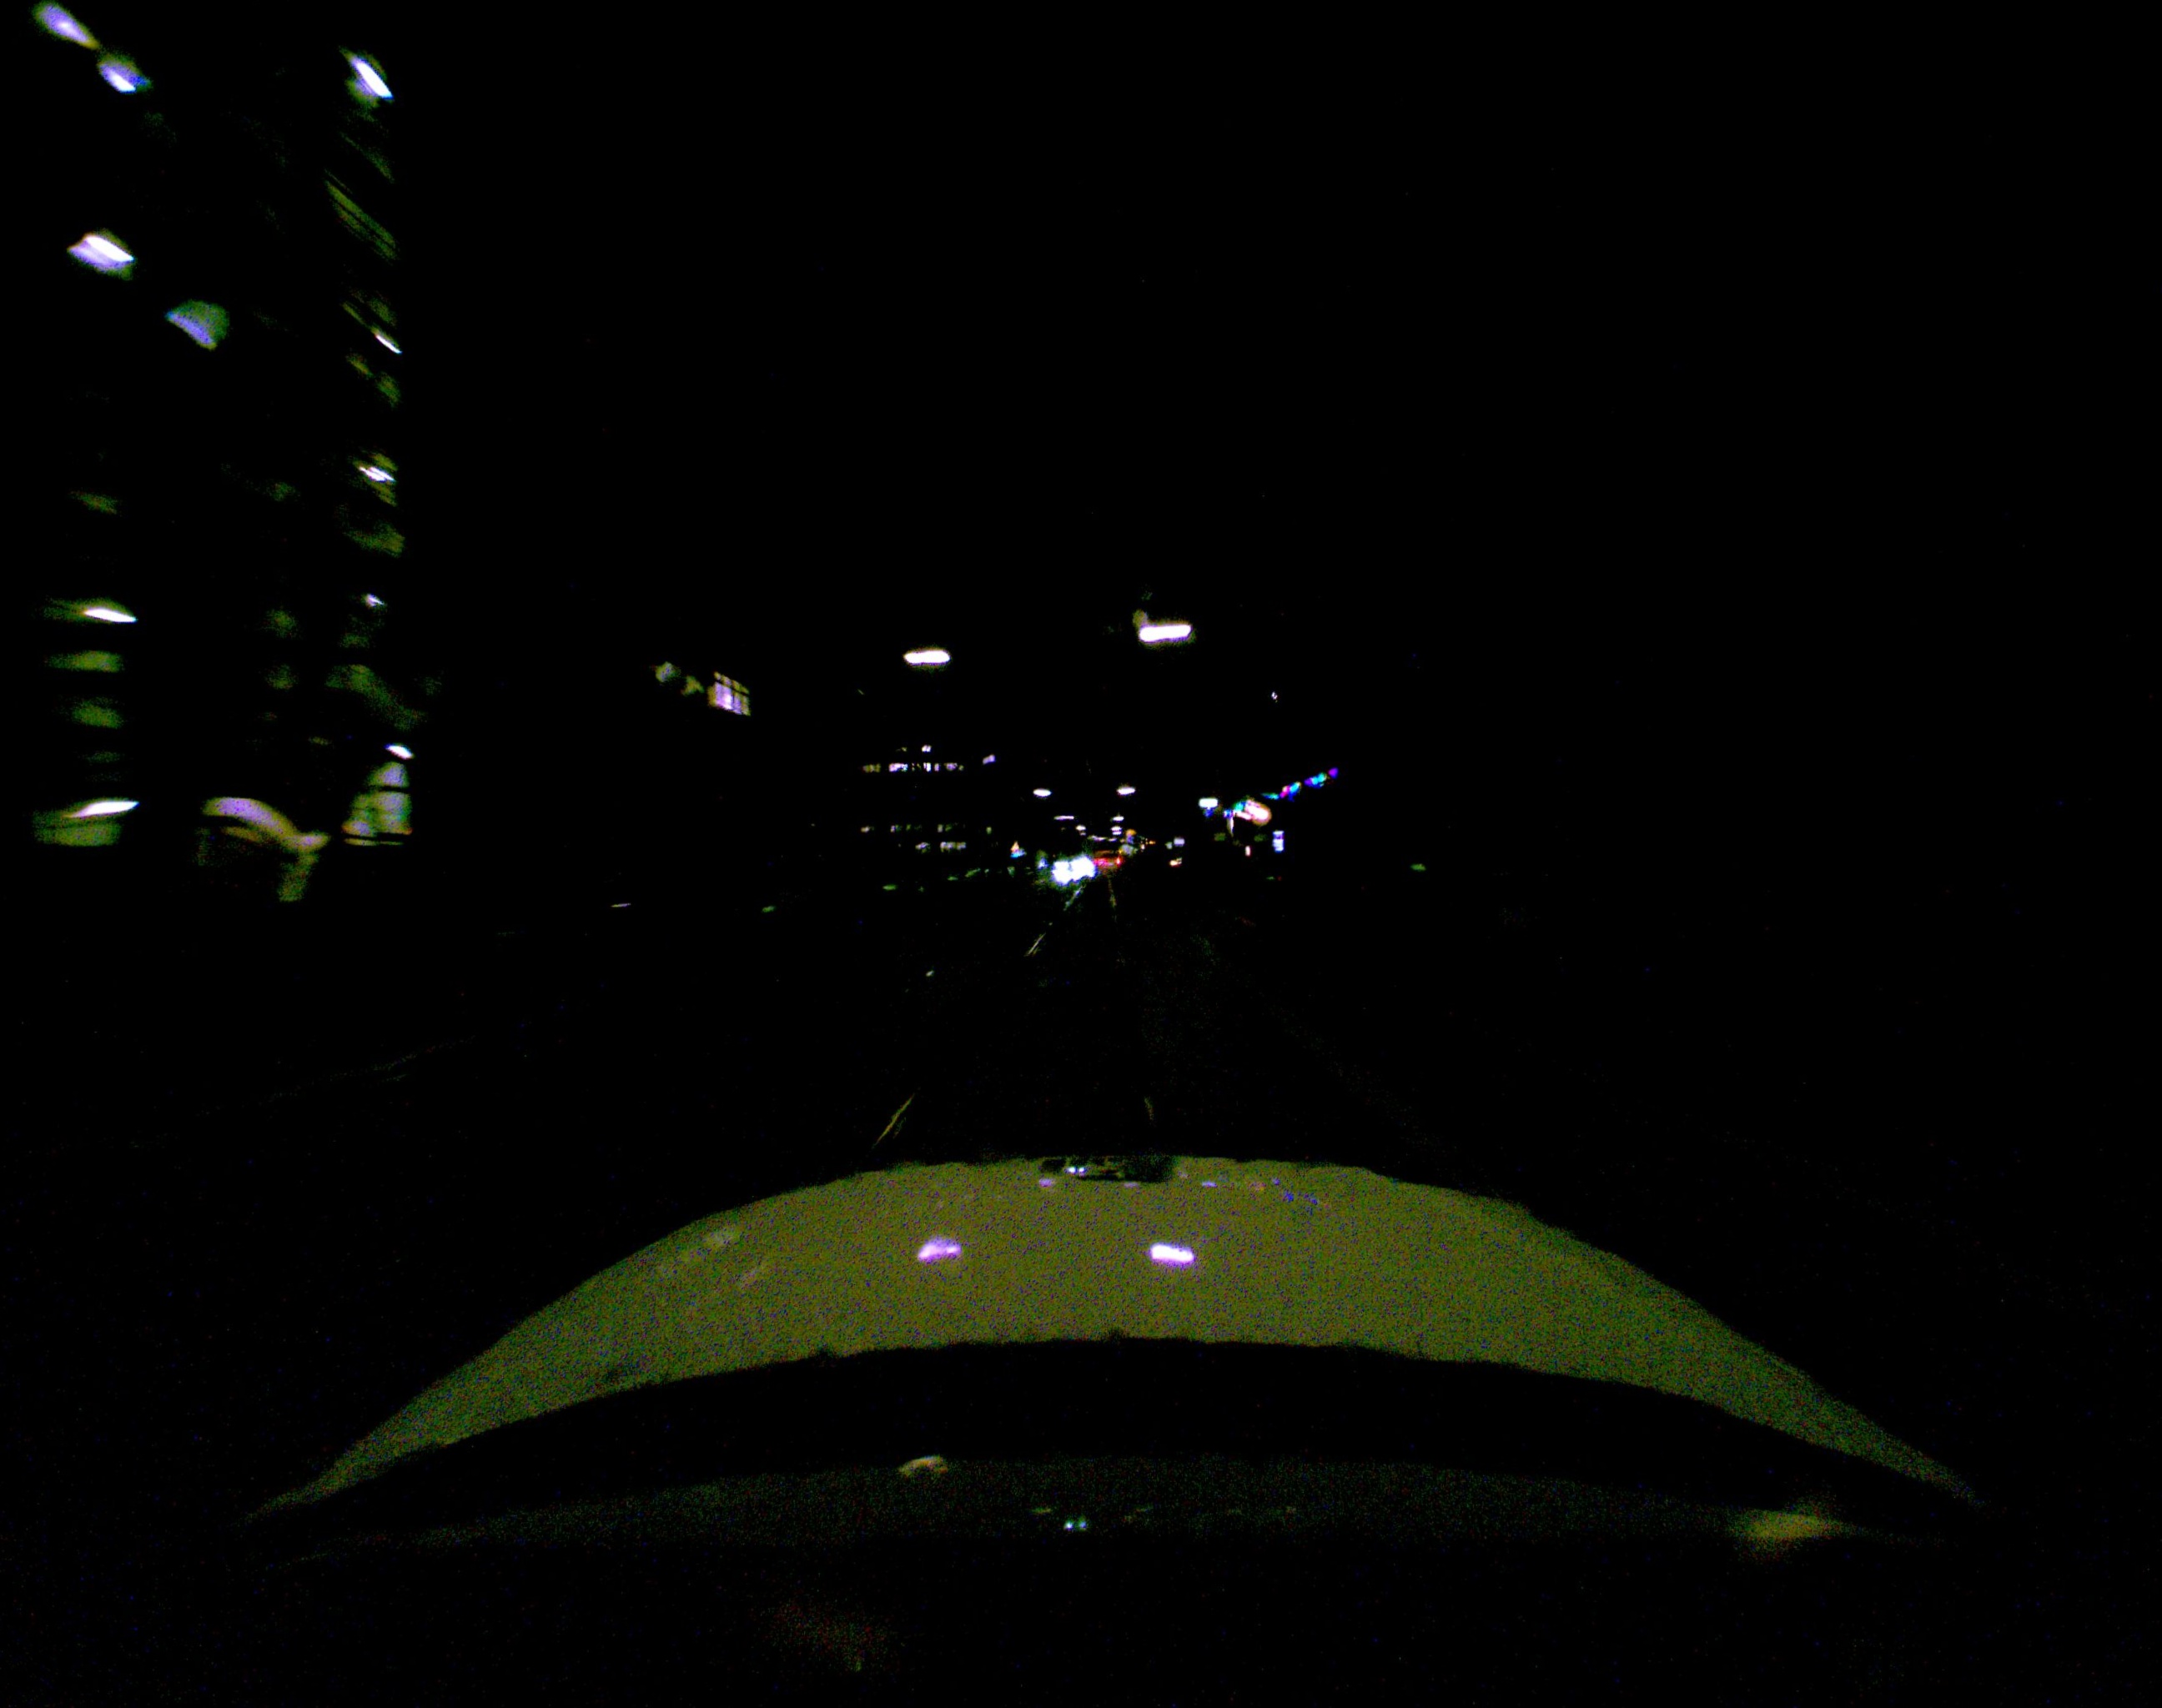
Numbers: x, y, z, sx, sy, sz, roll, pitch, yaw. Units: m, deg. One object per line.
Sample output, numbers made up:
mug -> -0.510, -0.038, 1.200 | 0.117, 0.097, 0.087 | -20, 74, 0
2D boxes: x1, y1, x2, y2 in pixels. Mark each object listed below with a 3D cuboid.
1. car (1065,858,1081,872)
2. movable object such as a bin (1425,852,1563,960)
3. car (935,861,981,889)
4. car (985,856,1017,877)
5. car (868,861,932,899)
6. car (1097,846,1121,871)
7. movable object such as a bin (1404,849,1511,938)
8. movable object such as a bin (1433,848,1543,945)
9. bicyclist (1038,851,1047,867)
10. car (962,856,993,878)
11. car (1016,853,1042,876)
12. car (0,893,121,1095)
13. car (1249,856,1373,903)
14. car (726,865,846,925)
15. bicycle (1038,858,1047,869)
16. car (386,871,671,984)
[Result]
car -> -0.974, 1.349, 100.704 | 1.769, 1.517, 4.053 | -1, 0, 2
movable object such as a bin -> 5.951, 0.717, 11.819 | 1.319, 1.408, 1.158 | -3, -1, -4
car -> -7.499, 1.250, 50.126 | 1.976, 1.631, 4.518 | -1, 0, 1
car -> -6.659, 1.040, 68.106 | 1.961, 1.655, 4.604 | 1, 0, 3
car -> -7.948, 1.106, 36.178 | 1.875, 1.545, 4.397 | 2, 0, -1
car -> 2.731, 0.446, 80.751 | 2.236, 2.361, 4.394 | -1, 0, 0
movable object such as a bin -> 6.483, 0.665, 14.112 | 1.361, 1.422, 1.075 | -3, -1, 7
movable object such as a bin -> 6.443, 0.651, 12.974 | 1.202, 1.422, 1.103 | -3, -1, 7
bicyclist -> -4.190, 0.554, 87.869 | 0.779, 1.655, 1.206 | -4, -1, 2
car -> -7.223, 0.890, 57.237 | 1.686, 1.421, 3.912 | -2, 0, -1
car -> -6.322, 1.218, 99.688 | 2.175, 2.591, 6.399 | -1, 1, 4
car -> -8.778, 1.069, 4.371 | 1.768, 1.440, 4.606 | -2, 0, 0
car -> 8.495, 0.897, 30.055 | 4.111, 1.537, 1.945 | -1, 0, -24
car -> -8.519, 1.116, 24.021 | 1.883, 1.463, 4.955 | -2, 0, -3
bicycle -> -4.160, 1.038, 87.861 | 0.779, 1.082, 1.919 | -4, 0, 2
car -> -8.704, 1.061, 13.389 | 1.835, 1.423, 4.207 | -2, 0, -1
